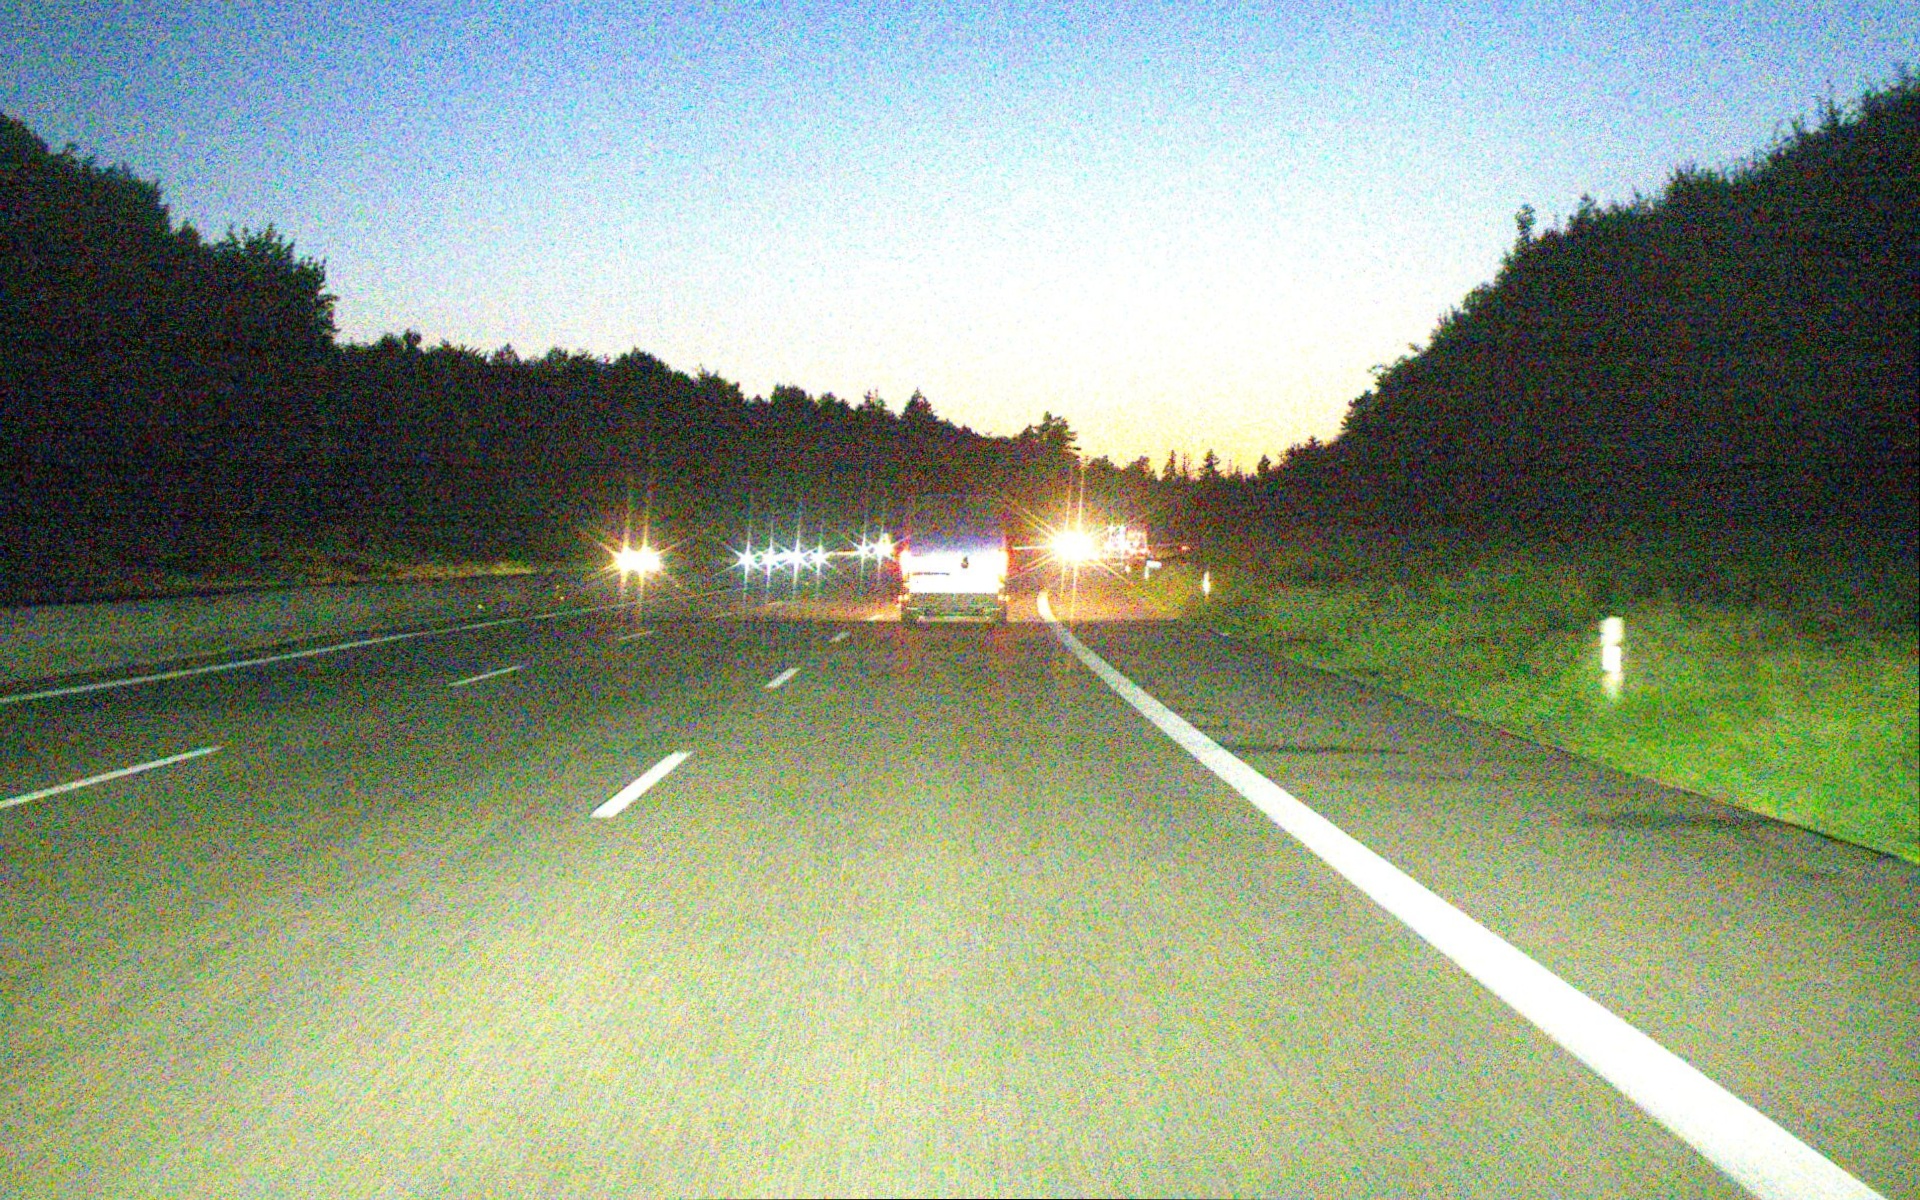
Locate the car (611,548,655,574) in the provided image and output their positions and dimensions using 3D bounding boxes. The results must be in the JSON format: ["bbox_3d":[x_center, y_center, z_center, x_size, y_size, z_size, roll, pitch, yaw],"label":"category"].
[{"bbox_3d":[-18.977,-2.280,199.663,1.994,1.503,4.401,0,1,2],"label":"car"}]

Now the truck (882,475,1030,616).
[{"bbox_3d":[-0.172,-1.065,68.263,2.630,2.615,8.685,0,1,-2],"label":"truck"}]
